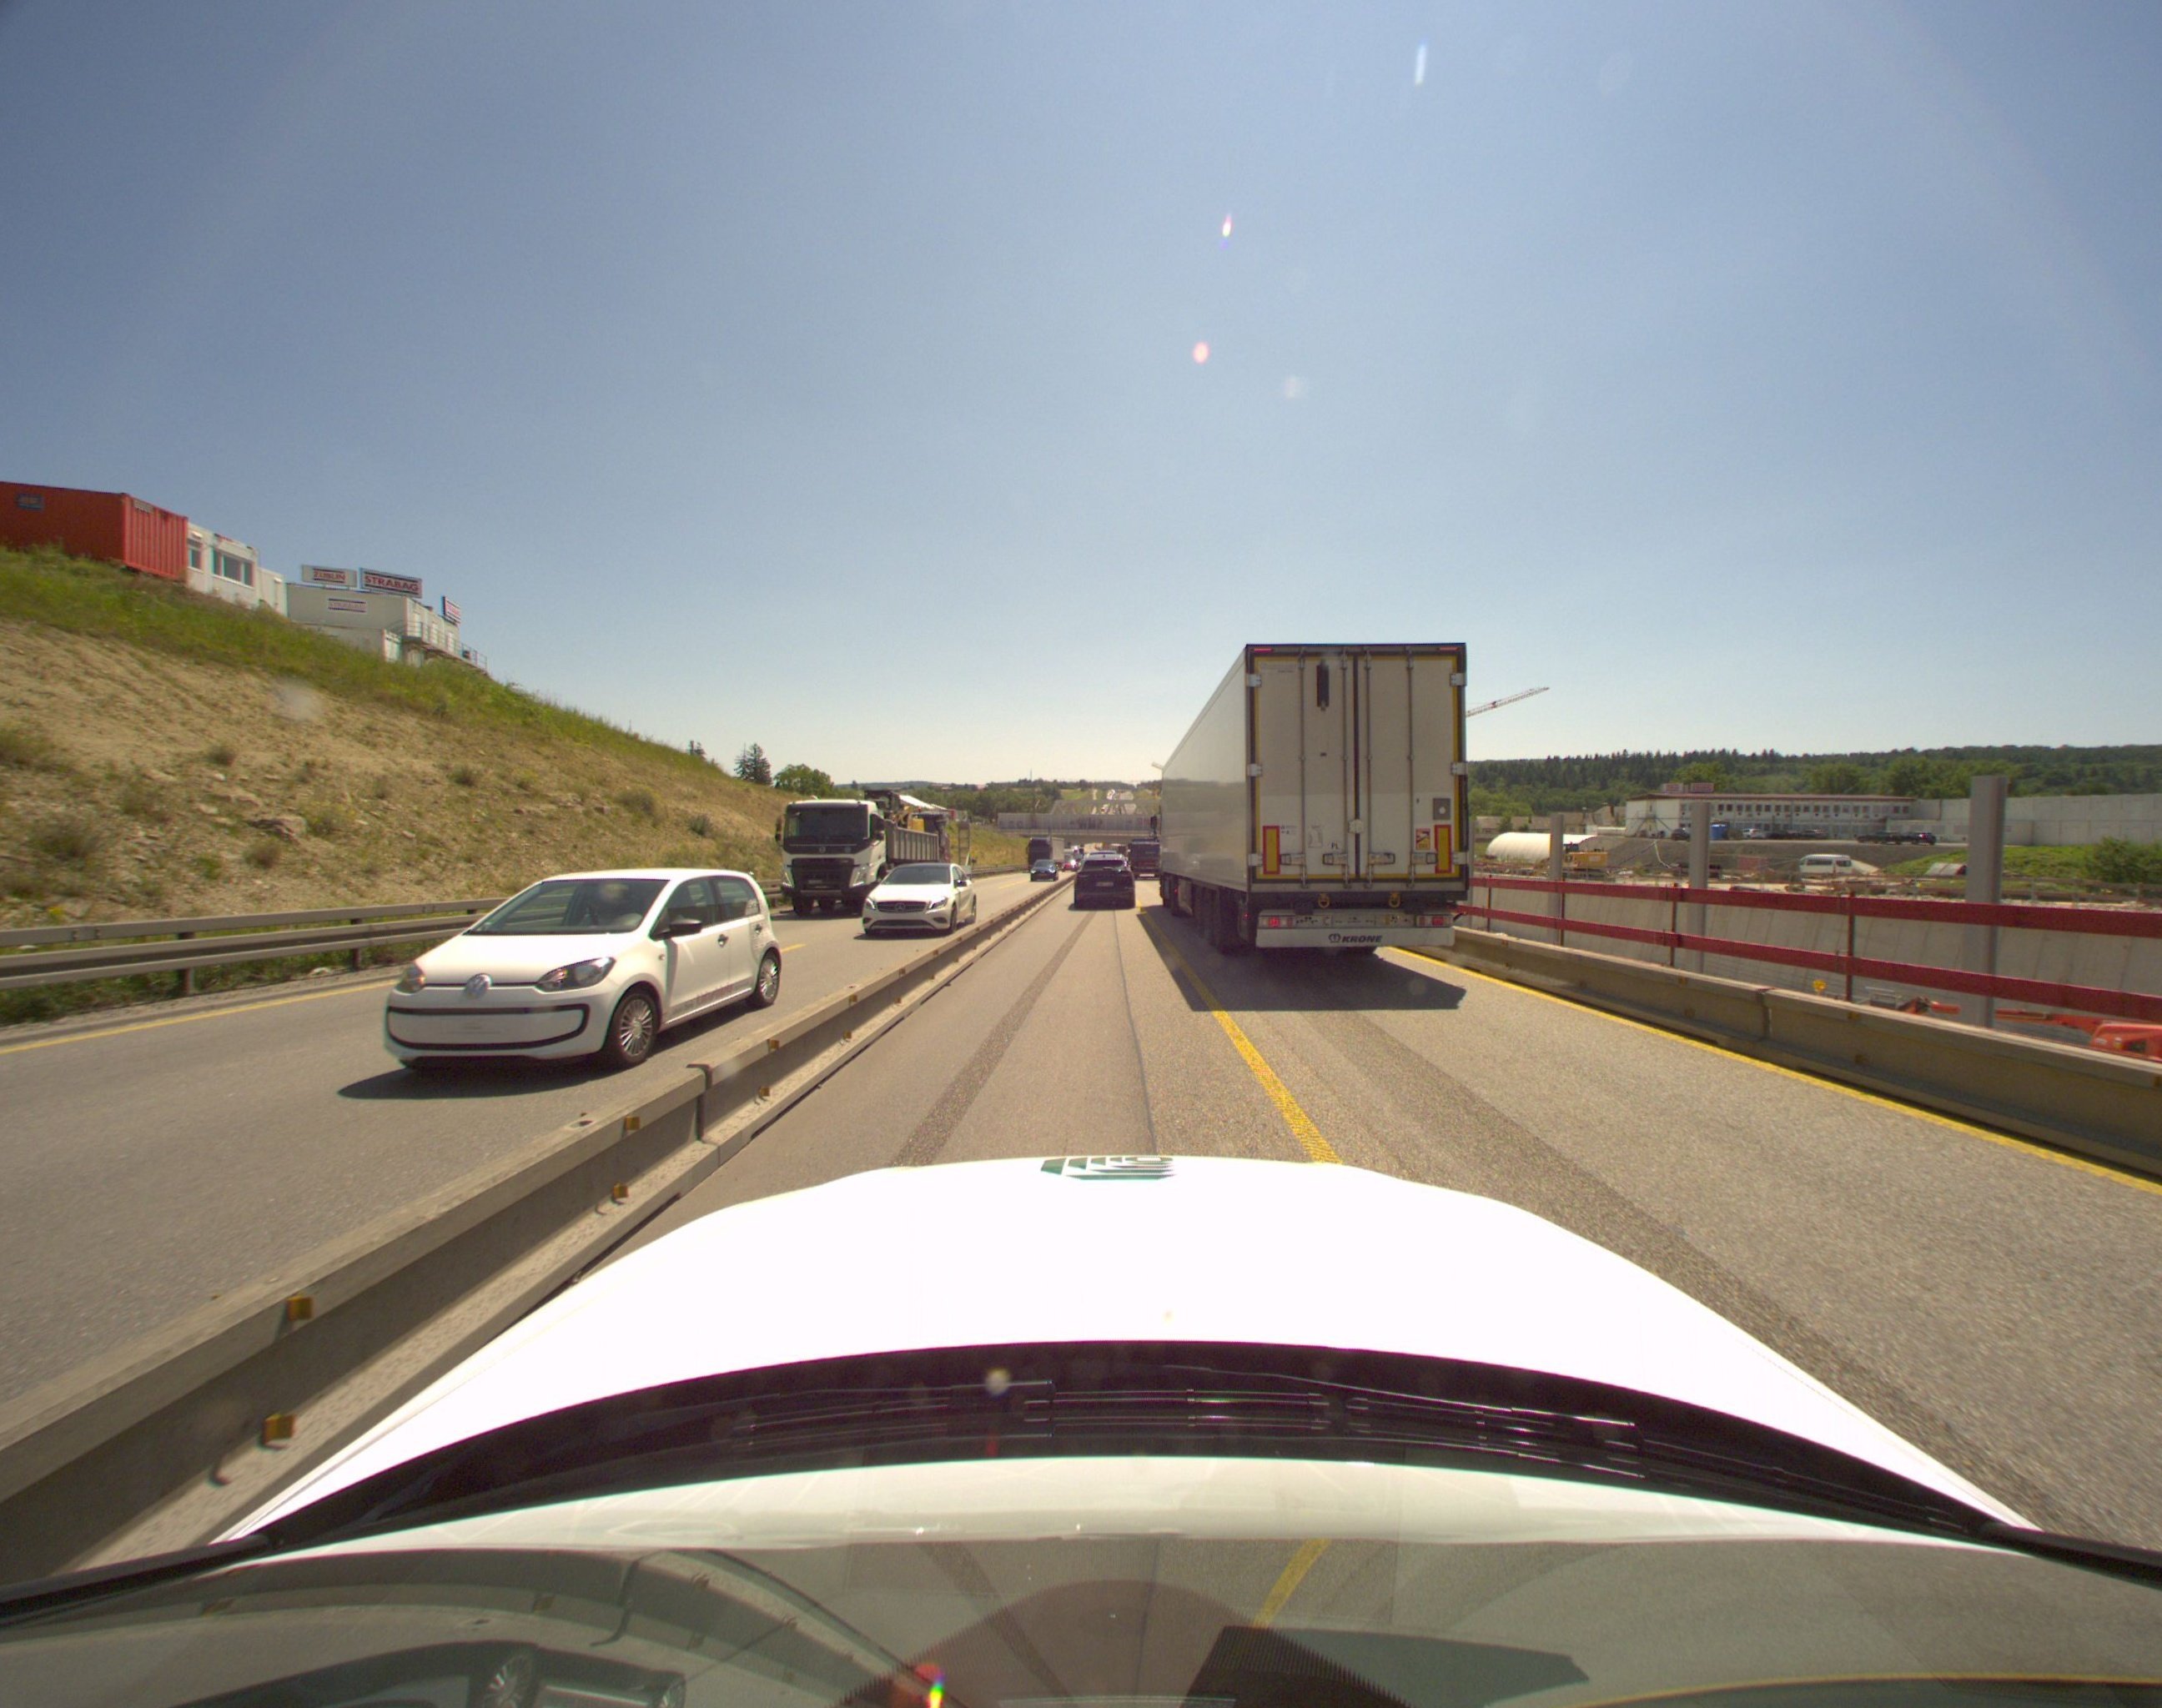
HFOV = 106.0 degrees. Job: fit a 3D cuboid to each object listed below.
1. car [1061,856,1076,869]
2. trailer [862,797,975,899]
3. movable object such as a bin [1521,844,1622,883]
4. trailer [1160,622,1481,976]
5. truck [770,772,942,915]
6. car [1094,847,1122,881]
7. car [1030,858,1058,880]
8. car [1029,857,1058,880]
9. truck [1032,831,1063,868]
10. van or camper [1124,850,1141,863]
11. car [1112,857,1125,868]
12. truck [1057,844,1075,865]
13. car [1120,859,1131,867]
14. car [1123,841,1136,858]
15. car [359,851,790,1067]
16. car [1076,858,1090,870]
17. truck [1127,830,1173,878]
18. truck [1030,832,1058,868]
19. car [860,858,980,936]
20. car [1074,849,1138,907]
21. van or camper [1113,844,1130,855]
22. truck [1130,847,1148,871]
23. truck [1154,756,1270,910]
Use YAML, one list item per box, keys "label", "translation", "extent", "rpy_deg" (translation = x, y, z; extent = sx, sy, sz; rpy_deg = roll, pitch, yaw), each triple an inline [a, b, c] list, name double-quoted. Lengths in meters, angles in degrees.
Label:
- label: "car"
  translation: [-1.393, 0.984, 94.735]
  extent: [1.584, 1.487, 3.296]
  rpy_deg: [-1, 0, 2]
- label: "trailer"
  translation: [-6.448, -0.220, 33.945]
  extent: [2.577, 3.637, 9.081]
  rpy_deg: [-1, 0, 2]
- label: "movable object such as a bin"
  translation: [39.999, 0.732, 66.902]
  extent: [2.876, 2.909, 9.485]
  rpy_deg: [0, 0, 2]
- label: "trailer"
  translation: [3.445, -0.594, 16.469]
  extent: [2.791, 4.058, 14.123]
  rpy_deg: [-1, 0, 2]
- label: "truck"
  translation: [-6.703, -0.266, 25.996]
  extent: [2.577, 3.723, 9.336]
  rpy_deg: [-1, 0, 2]
- label: "car"
  translation: [1.558, 0.532, 45.831]
  extent: [1.468, 1.795, 3.300]
  rpy_deg: [-1, 0, 3]
- label: "car"
  translation: [-2.438, 0.962, 54.643]
  extent: [1.683, 1.403, 3.687]
  rpy_deg: [-1, 0, 0]
- label: "car"
  translation: [-2.467, 0.952, 53.959]
  extent: [1.679, 1.430, 3.850]
  rpy_deg: [-1, 0, 1]
- label: "truck"
  translation: [-3.927, -0.489, 98.901]
  extent: [2.757, 4.088, 13.811]
  rpy_deg: [0, 0, 2]
- label: "van or camper"
  translation: [14.062, 0.568, 221.061]
  extent: [3.920, 3.419, 8.426]
  rpy_deg: [0, 0, 9]
- label: "car"
  translation: [4.531, 1.030, 99.058]
  extent: [1.486, 1.330, 3.244]
  rpy_deg: [1, 0, 0]
- label: "truck"
  translation: [-2.169, 0.108, 117.715]
  extent: [2.259, 2.882, 5.854]
  rpy_deg: [-1, 0, 2]
- label: "car"
  translation: [7.330, 1.463, 134.327]
  extent: [1.533, 1.206, 3.310]
  rpy_deg: [-1, 0, 0]
- label: "car"
  translation: [6.603, -0.552, 110.902]
  extent: [1.656, 2.269, 3.796]
  rpy_deg: [1, 0, 0]
- label: "car"
  translation: [-4.016, 0.713, 7.160]
  extent: [1.679, 1.430, 3.293]
  rpy_deg: [-1, 0, 1]
- label: "car"
  translation: [0.316, 1.328, 110.905]
  extent: [1.819, 1.487, 4.197]
  rpy_deg: [-1, 0, 2]
- label: "truck"
  translation: [4.898, 0.008, 59.644]
  extent: [2.803, 3.135, 12.845]
  rpy_deg: [-1, 0, 2]
- label: "truck"
  translation: [-4.169, -0.405, 91.598]
  extent: [2.757, 3.884, 4.966]
  rpy_deg: [0, 0, 2]
- label: "car"
  translation: [-3.311, 0.826, 17.486]
  extent: [1.679, 1.430, 4.122]
  rpy_deg: [-1, 0, 1]
- label: "car"
  translation: [0.765, 0.666, 24.939]
  extent: [1.794, 1.620, 3.299]
  rpy_deg: [-1, 0, 2]
- label: "van or camper"
  translation: [12.634, -1.391, 255.787]
  extent: [3.942, 3.419, 8.381]
  rpy_deg: [0, 0, -9]
- label: "truck"
  translation: [10.743, 0.917, 152.139]
  extent: [3.163, 4.318, 9.263]
  rpy_deg: [-1, 0, 3]
- label: "truck"
  translation: [3.690, -0.543, 24.047]
  extent: [2.766, 4.058, 4.906]
  rpy_deg: [-1, 0, 2]
